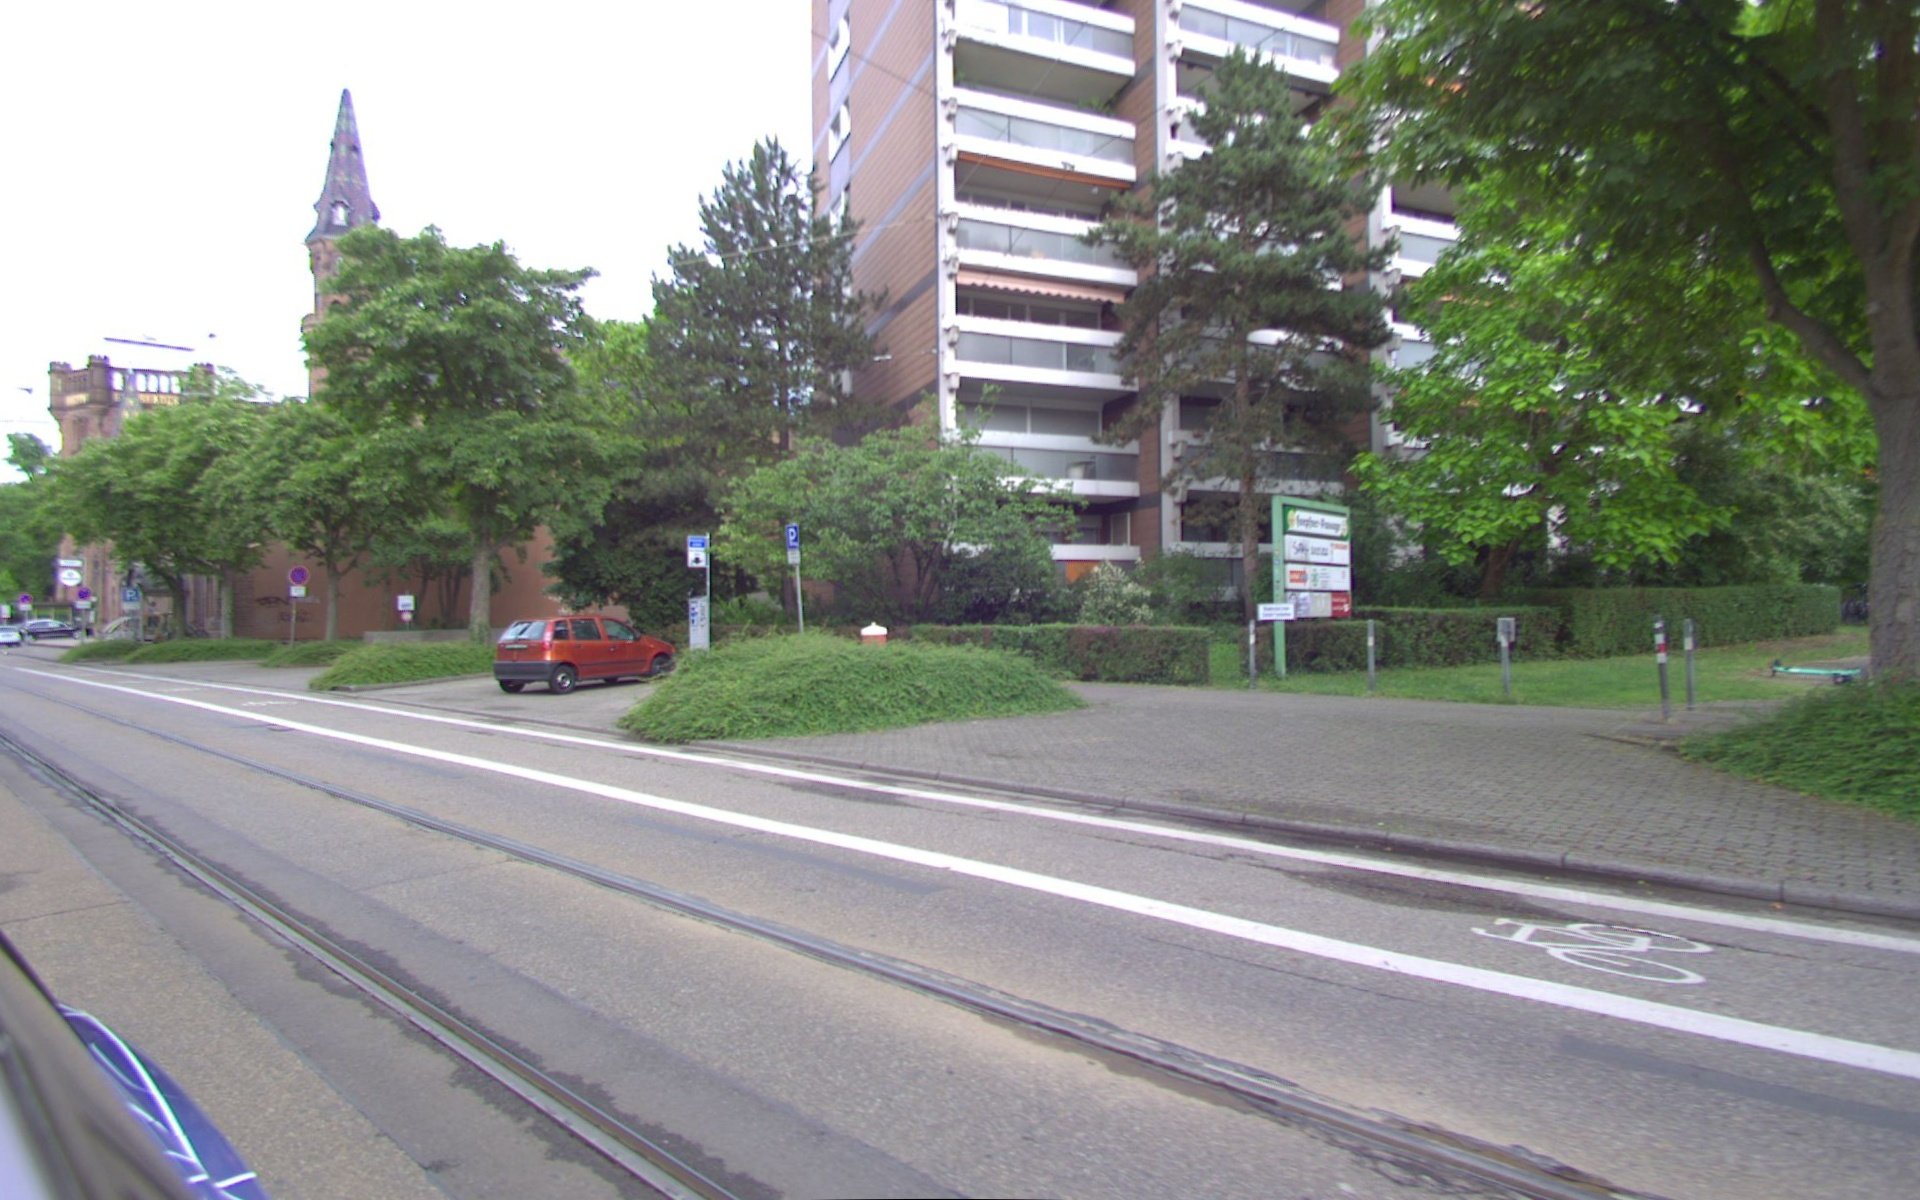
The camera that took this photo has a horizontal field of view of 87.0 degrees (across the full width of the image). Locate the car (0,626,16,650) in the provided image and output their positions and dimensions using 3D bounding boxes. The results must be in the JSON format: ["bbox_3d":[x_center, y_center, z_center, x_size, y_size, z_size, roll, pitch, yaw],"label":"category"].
[{"bbox_3d":[-64.661,2.549,67.559,3.998,1.541,1.973,-2,-1,41],"label":"car"}]

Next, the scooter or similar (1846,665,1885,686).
[{"bbox_3d":[13.245,1.098,14.802,1.202,0.173,0.297,-4,3,-42],"label":"scooter or similar"}]

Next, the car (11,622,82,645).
[{"bbox_3d":[-67.361,2.472,74.661,3.792,1.541,1.798,-1,-1,-45],"label":"car"}]

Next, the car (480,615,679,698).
[{"bbox_3d":[-7.350,1.032,19.850,1.627,1.387,3.471,0,0,27],"label":"car"}]
